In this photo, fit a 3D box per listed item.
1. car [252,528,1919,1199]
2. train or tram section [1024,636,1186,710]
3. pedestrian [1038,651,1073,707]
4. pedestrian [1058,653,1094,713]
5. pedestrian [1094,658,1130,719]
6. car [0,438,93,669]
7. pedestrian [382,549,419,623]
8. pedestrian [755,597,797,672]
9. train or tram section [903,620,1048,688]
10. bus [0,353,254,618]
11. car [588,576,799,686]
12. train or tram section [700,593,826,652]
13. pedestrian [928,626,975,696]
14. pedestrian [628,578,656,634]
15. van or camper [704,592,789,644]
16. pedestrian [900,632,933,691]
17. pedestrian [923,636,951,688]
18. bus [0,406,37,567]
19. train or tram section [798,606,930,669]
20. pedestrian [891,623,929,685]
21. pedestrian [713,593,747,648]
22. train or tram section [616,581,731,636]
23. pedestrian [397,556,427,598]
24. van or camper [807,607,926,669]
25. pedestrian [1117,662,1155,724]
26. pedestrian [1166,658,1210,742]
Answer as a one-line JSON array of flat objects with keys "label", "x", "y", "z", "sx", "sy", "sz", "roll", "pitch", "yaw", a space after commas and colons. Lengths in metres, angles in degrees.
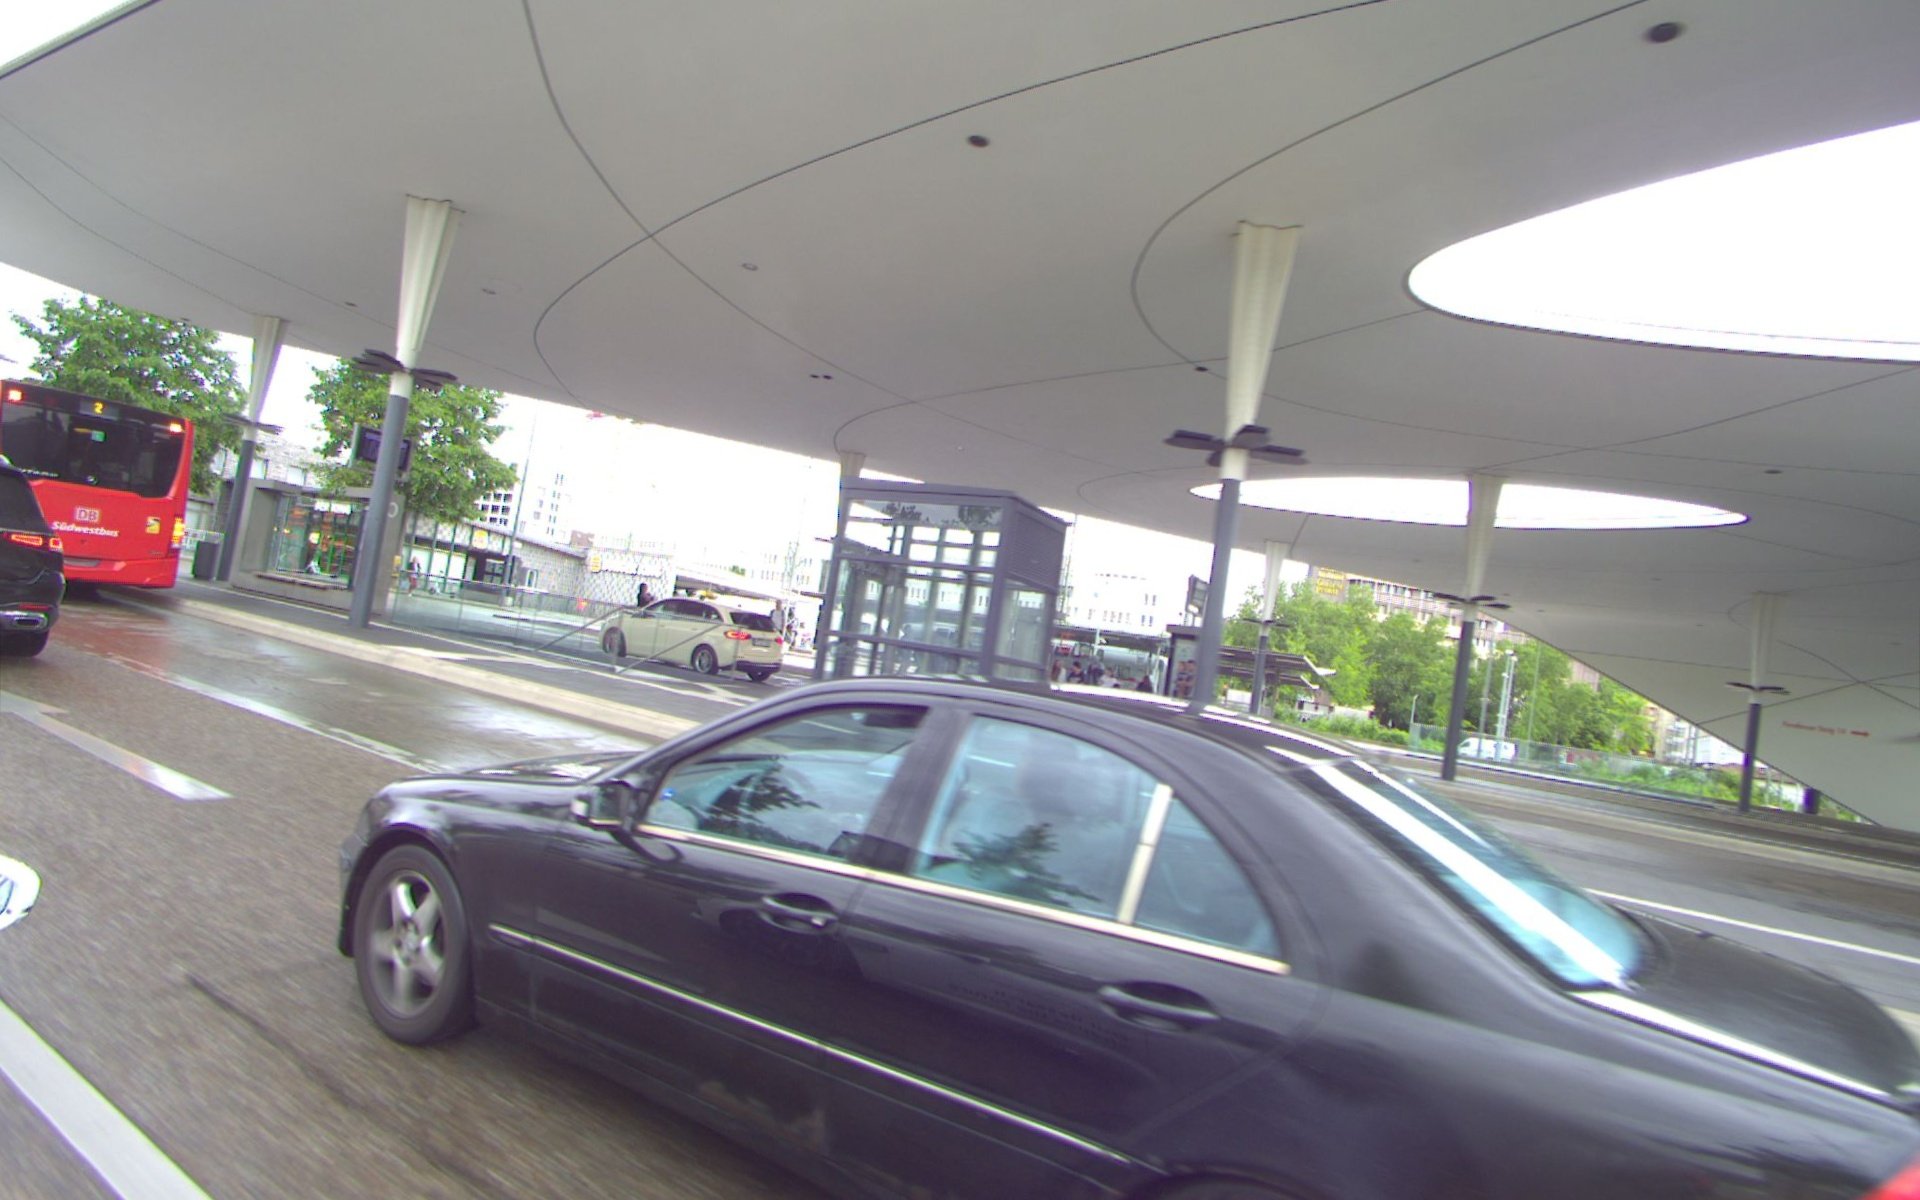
[{"label": "car", "x": -0.068, "y": 0.850, "z": 3.067, "sx": 4.230, "sy": 1.479, "sz": 1.701, "roll": 9, "pitch": -1, "yaw": 30}, {"label": "train or tram section", "x": 10.896, "y": 5.492, "z": 76.389, "sx": 11.421, "sy": 3.712, "sz": 3.145, "roll": 7, "pitch": -6, "yaw": 31}, {"label": "pedestrian", "x": 2.525, "y": 2.091, "z": 26.555, "sx": 0.603, "sy": 1.376, "sz": 0.562, "roll": 6, "pitch": -2, "yaw": 28}, {"label": "pedestrian", "x": 3.034, "y": 2.172, "z": 26.203, "sx": 0.603, "sy": 1.460, "sz": 0.562, "roll": 6, "pitch": -2, "yaw": 28}, {"label": "pedestrian", "x": 3.913, "y": 2.280, "z": 25.827, "sx": 0.603, "sy": 1.460, "sz": 0.562, "roll": 6, "pitch": -2, "yaw": 28}, {"label": "car", "x": -10.216, "y": -0.666, "z": 9.217, "sx": 4.792, "sy": 1.898, "sz": 1.960, "roll": 7, "pitch": 0, "yaw": 32}, {"label": "pedestrian", "x": -13.598, "y": -0.336, "z": 24.449, "sx": 0.570, "sy": 1.697, "sz": 0.578, "roll": 8, "pitch": -2, "yaw": -32}, {"label": "pedestrian", "x": -5.262, "y": 0.996, "z": 28.827, "sx": 0.719, "sy": 2.032, "sz": 0.665, "roll": 11, "pitch": -8, "yaw": -32}, {"label": "train or tram section", "x": 1.170, "y": 4.356, "z": 82.322, "sx": 11.421, "sy": 3.715, "sz": 3.145, "roll": 7, "pitch": -6, "yaw": 31}, {"label": "bus", "x": -16.951, "y": -2.070, "z": 17.701, "sx": 10.699, "sy": 3.329, "sz": 3.293, "roll": 7, "pitch": -2, "yaw": 32}, {"label": "car", "x": -5.689, "y": 0.639, "z": 21.342, "sx": 4.168, "sy": 1.680, "sz": 1.717, "roll": 7, "pitch": -4, "yaw": 31}, {"label": "train or tram section", "x": -18.549, "y": 2.075, "z": 94.345, "sx": 12.117, "sy": 3.693, "sz": 3.145, "roll": 7, "pitch": -6, "yaw": 31}, {"label": "pedestrian", "x": -0.228, "y": 1.612, "z": 26.513, "sx": 0.757, "sy": 1.730, "sz": 0.707, "roll": 11, "pitch": 4, "yaw": 44}, {"label": "pedestrian", "x": -9.831, "y": 0.183, "z": 31.092, "sx": 0.573, "sy": 1.592, "sz": 0.772, "roll": 9, "pitch": -7, "yaw": -18}, {"label": "van or camper", "x": -12.265, "y": 1.082, "z": 58.159, "sx": 2.074, "sy": 2.294, "sz": 4.702, "roll": 7, "pitch": -3, "yaw": 27}, {"label": "pedestrian", "x": -1.267, "y": 1.807, "z": 29.583, "sx": 0.759, "sy": 1.592, "sz": 0.583, "roll": 7, "pitch": -6, "yaw": -1}, {"label": "pedestrian", "x": -0.648, "y": 1.781, "z": 28.613, "sx": 0.469, "sy": 1.403, "sz": 0.559, "roll": 10, "pitch": -7, "yaw": -23}, {"label": "bus", "x": -24.618, "y": -2.980, "z": 22.603, "sx": 8.703, "sy": 3.327, "sz": 3.298, "roll": 7, "pitch": -2, "yaw": 32}, {"label": "train or tram section", "x": -8.555, "y": 3.228, "z": 88.270, "sx": 11.421, "sy": 3.693, "sz": 3.145, "roll": 7, "pitch": -6, "yaw": 31}, {"label": "pedestrian", "x": -1.369, "y": 1.481, "z": 27.513, "sx": 0.699, "sy": 1.599, "sz": 0.600, "roll": 5, "pitch": -3, "yaw": 22}, {"label": "pedestrian", "x": -7.377, "y": 0.667, "z": 32.287, "sx": 0.759, "sy": 1.592, "sz": 0.583, "roll": 7, "pitch": -6, "yaw": -1}, {"label": "train or tram section", "x": -28.761, "y": 0.793, "z": 100.575, "sx": 12.117, "sy": 3.693, "sz": 3.145, "roll": 7, "pitch": -6, "yaw": 31}, {"label": "pedestrian", "x": -22.241, "y": -0.932, "z": 40.844, "sx": 0.663, "sy": 1.592, "sz": 0.606, "roll": 2, "pitch": -8, "yaw": 37}, {"label": "van or camper", "x": -5.197, "y": 2.099, "z": 55.611, "sx": 6.109, "sy": 2.536, "sz": 2.099, "roll": 7, "pitch": -3, "yaw": 28}, {"label": "pedestrian", "x": 4.415, "y": 2.339, "z": 25.248, "sx": 0.625, "sy": 1.460, "sz": 0.562, "roll": 6, "pitch": -2, "yaw": 28}, {"label": "pedestrian", "x": 4.980, "y": 2.184, "z": 21.958, "sx": 0.602, "sy": 1.710, "sz": 0.562, "roll": 8, "pitch": -2, "yaw": 25}]
